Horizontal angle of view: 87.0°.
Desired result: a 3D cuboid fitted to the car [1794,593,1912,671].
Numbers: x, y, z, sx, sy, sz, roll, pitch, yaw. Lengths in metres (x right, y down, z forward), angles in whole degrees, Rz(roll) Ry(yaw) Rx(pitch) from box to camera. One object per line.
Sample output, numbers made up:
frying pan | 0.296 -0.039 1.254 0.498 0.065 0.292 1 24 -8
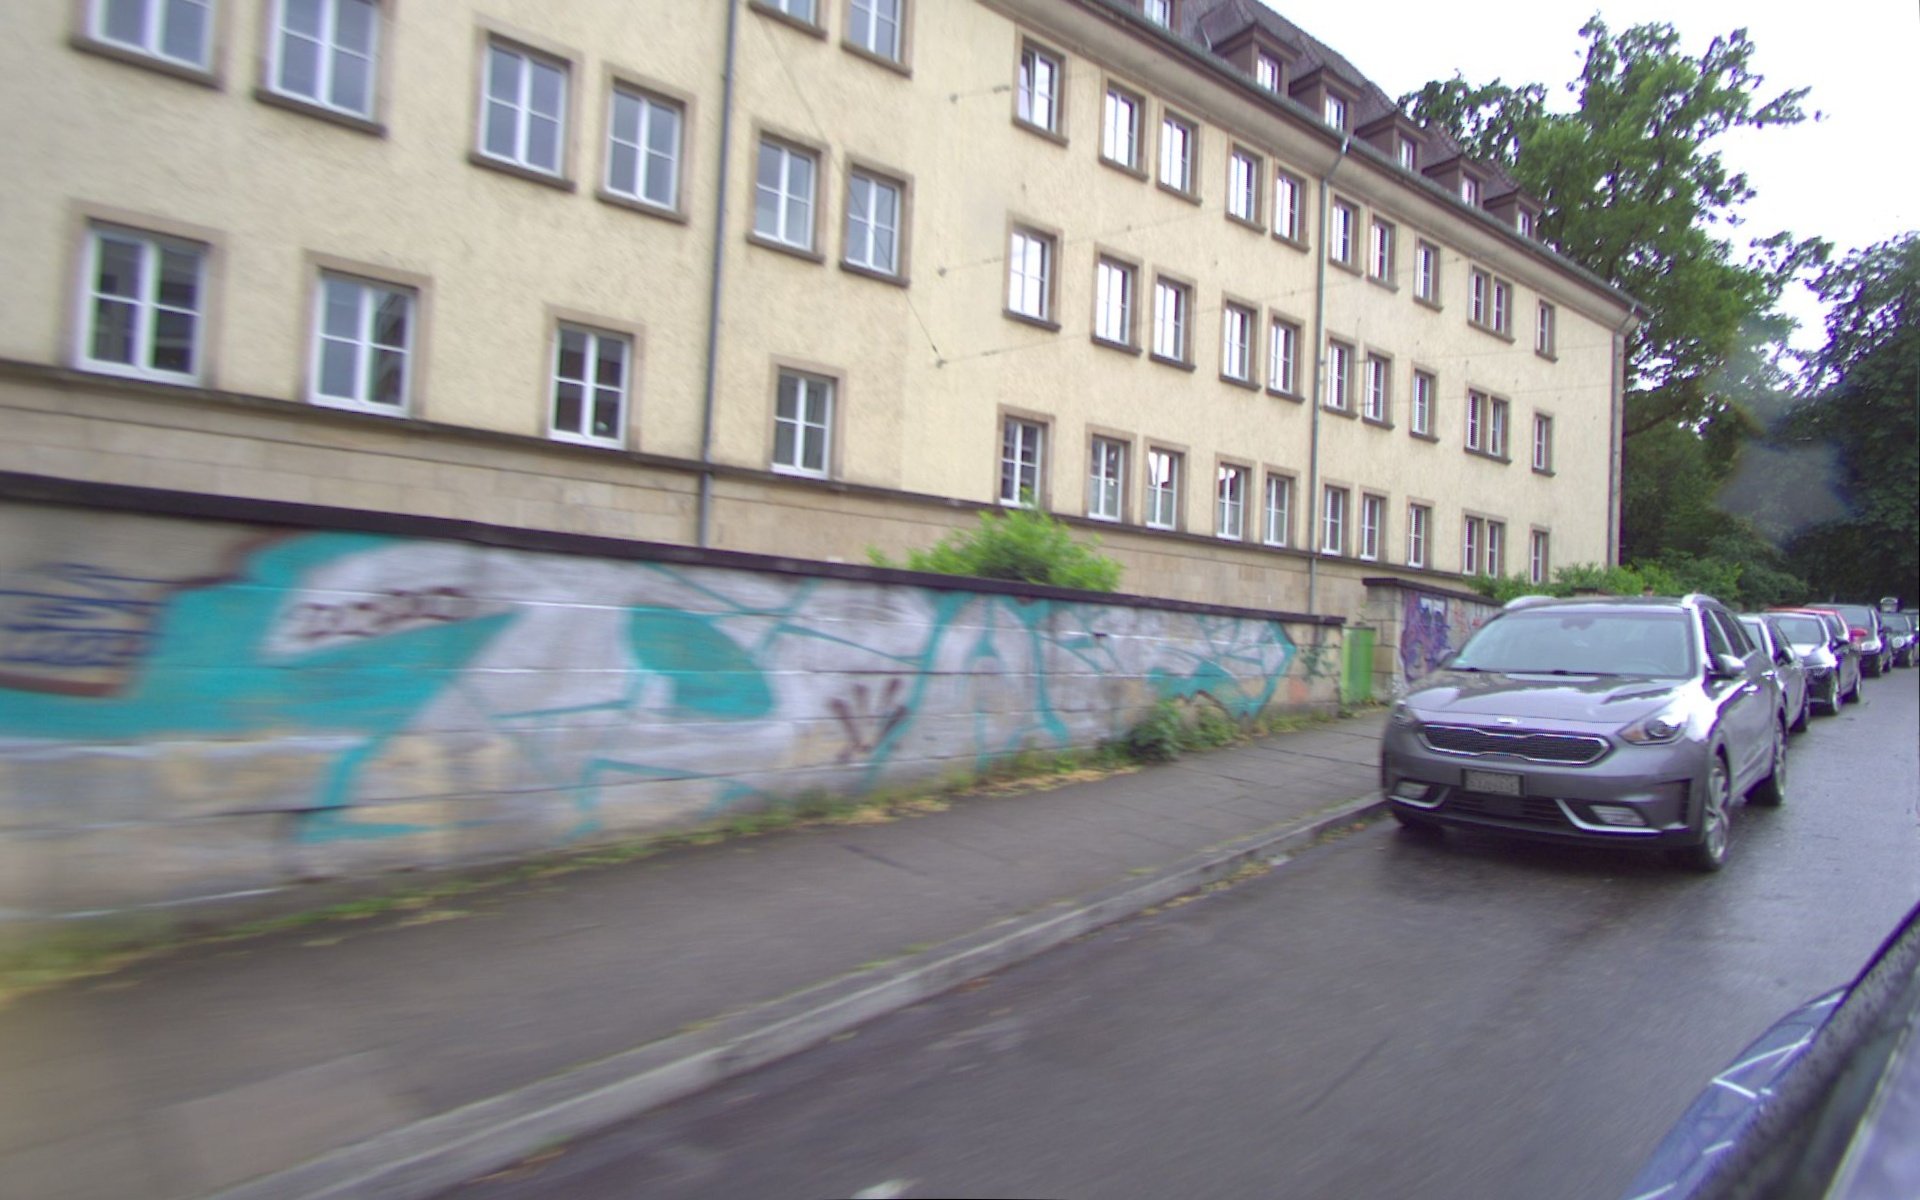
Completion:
car | 20.475 0.669 23.150 3.791 1.592 1.667 0 2 -44

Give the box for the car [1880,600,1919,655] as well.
car | 27.940 0.800 28.779 2.663 1.484 1.606 1 1 -22

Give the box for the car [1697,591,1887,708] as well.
car | 12.859 0.656 15.543 4.382 1.495 1.668 0 2 -43

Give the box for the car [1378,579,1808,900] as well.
car | 4.570 0.681 7.022 1.666 1.543 4.042 3 2 45

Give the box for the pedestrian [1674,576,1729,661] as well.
pedestrian | 16.079 0.389 21.959 0.725 1.776 0.720 1 1 -34

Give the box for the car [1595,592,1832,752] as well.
car | 8.865 0.691 11.768 1.666 1.495 4.043 3 2 44

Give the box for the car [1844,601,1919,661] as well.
car | 24.834 0.781 26.716 3.576 1.434 1.540 1 1 -38

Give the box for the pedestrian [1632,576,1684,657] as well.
pedestrian | 15.656 0.364 22.706 0.725 1.776 0.720 1 1 -34

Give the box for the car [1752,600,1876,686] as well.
car | 16.674 0.750 19.689 1.665 1.495 4.003 0 0 43
